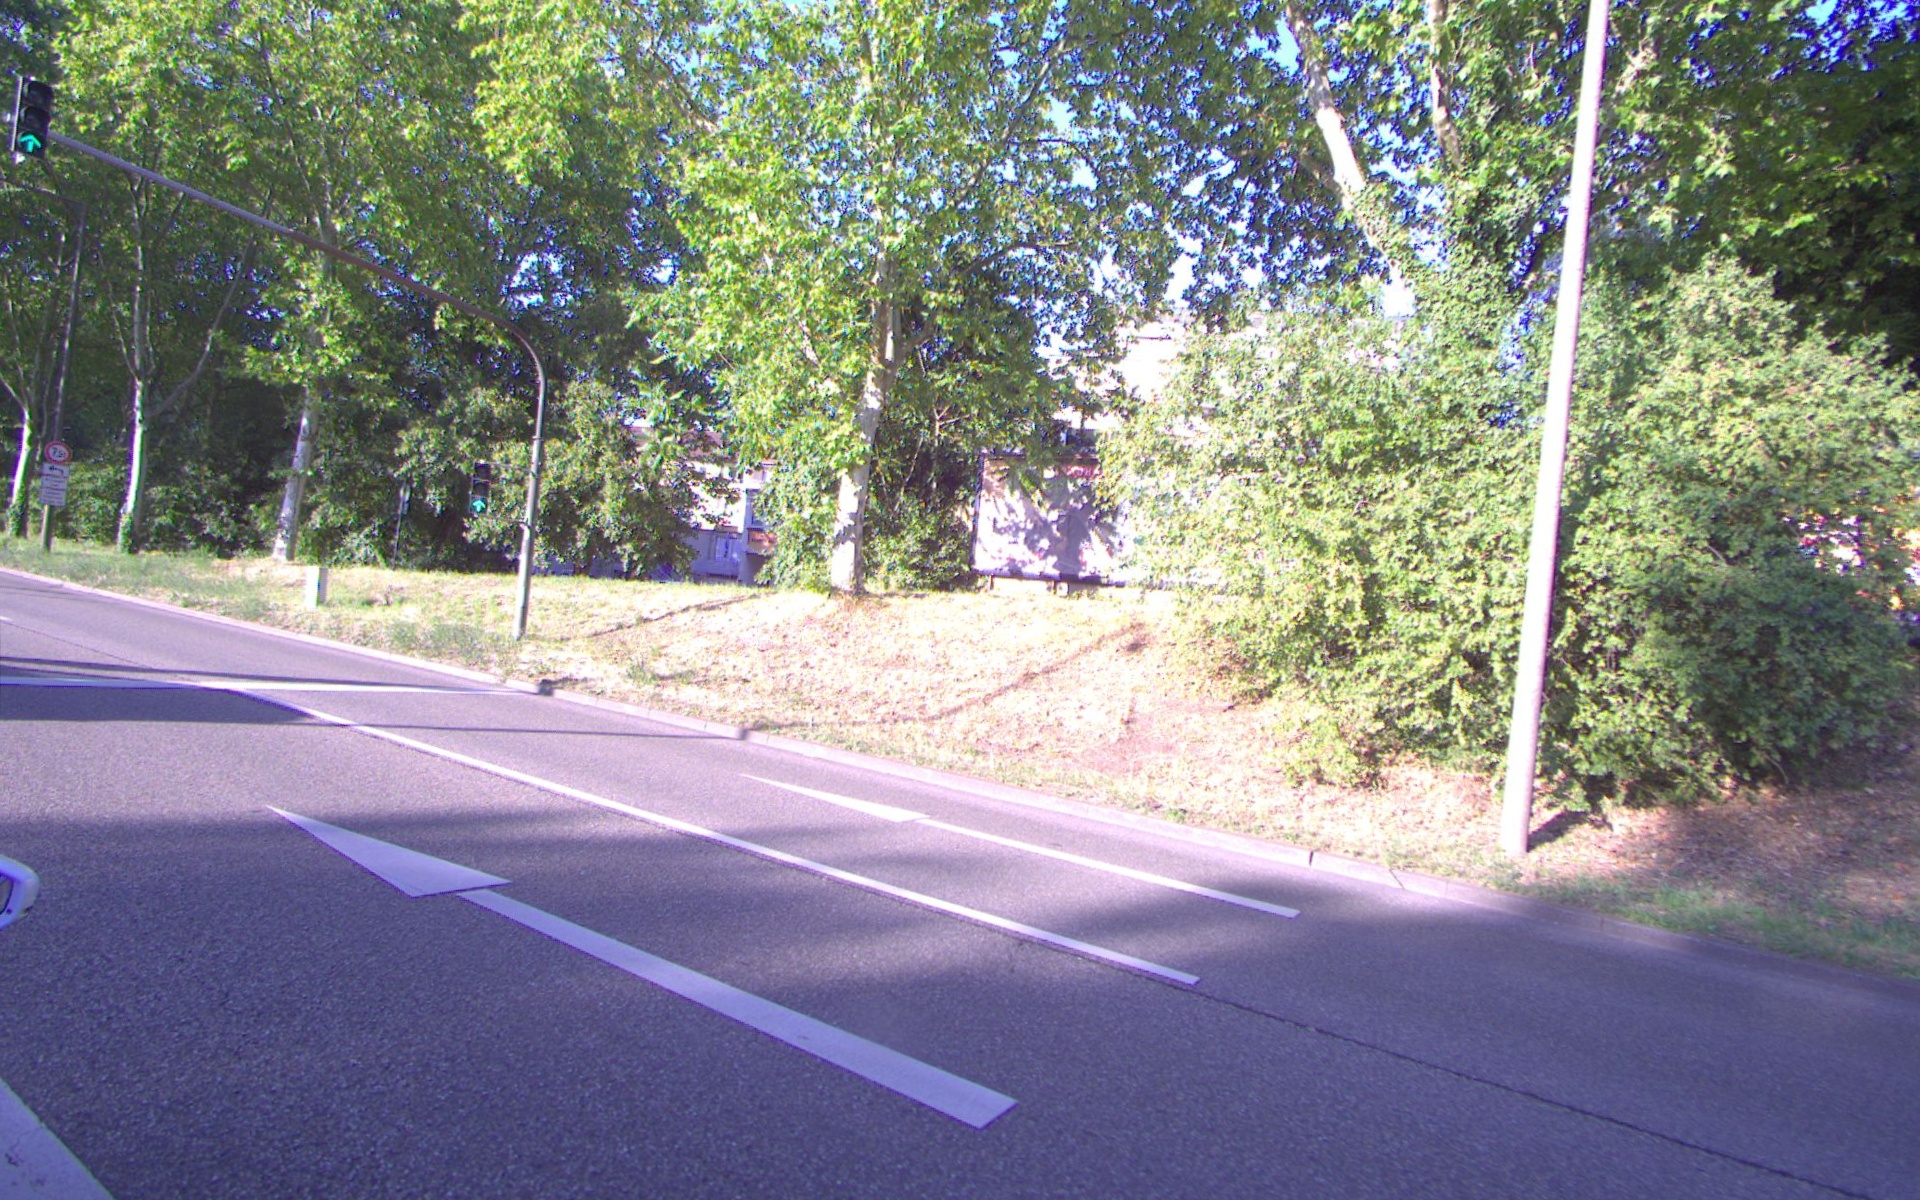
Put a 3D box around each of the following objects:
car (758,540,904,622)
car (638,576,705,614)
[{"bbox_3d":[-4.931,-0.747,37.943,5.543,2.542,1.801,5,-2,37],"label":"car"},{"bbox_3d":[-17.210,-0.277,60.297,1.882,1.725,4.005,6,-2,16],"label":"car"}]
